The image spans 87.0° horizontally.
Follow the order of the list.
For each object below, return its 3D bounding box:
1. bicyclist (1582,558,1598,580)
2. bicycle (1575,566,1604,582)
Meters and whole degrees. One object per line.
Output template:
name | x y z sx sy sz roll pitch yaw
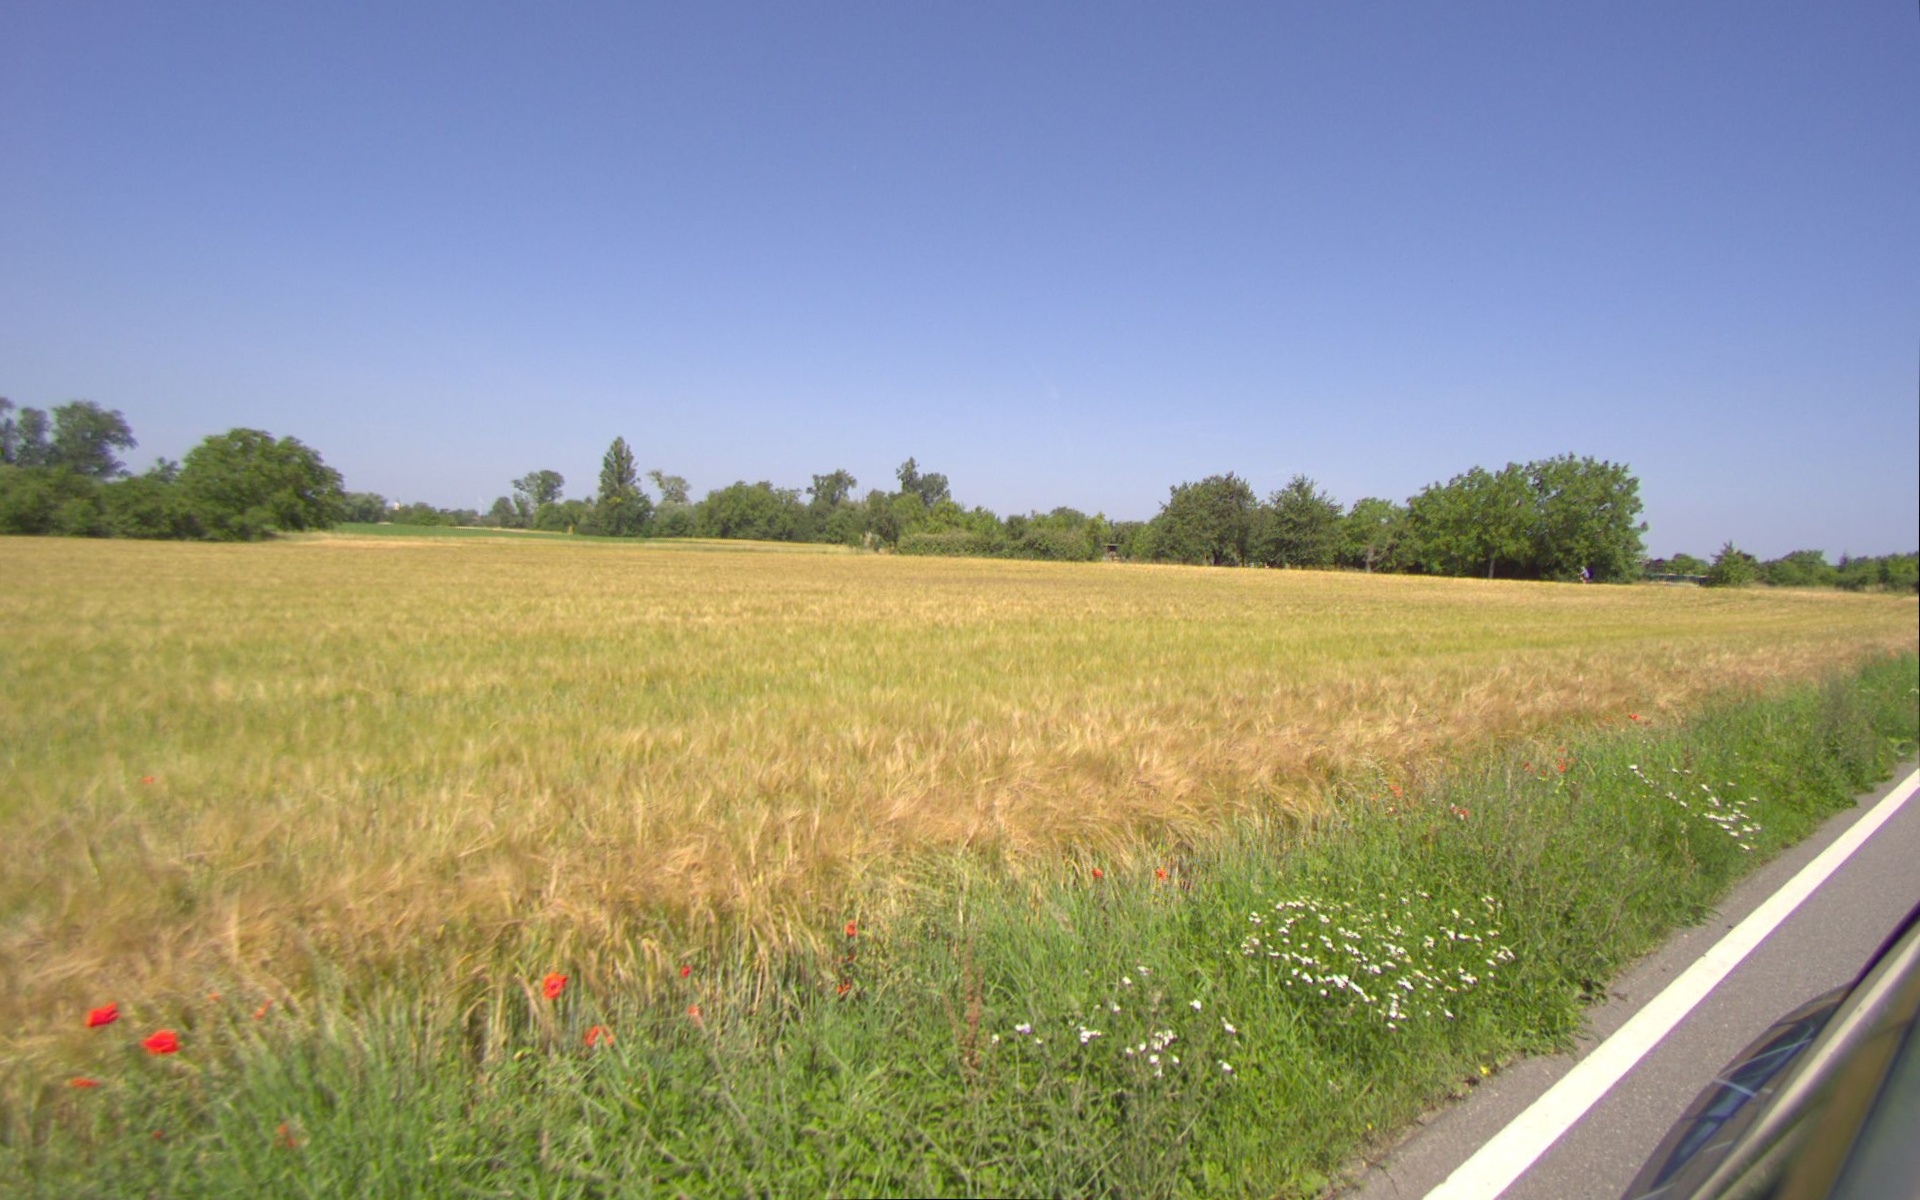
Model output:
bicyclist | 48.296 -2.371 77.583 0.725 1.592 0.672 3 3 14
bicycle | 48.282 -1.999 77.602 1.743 1.129 0.520 3 3 15
